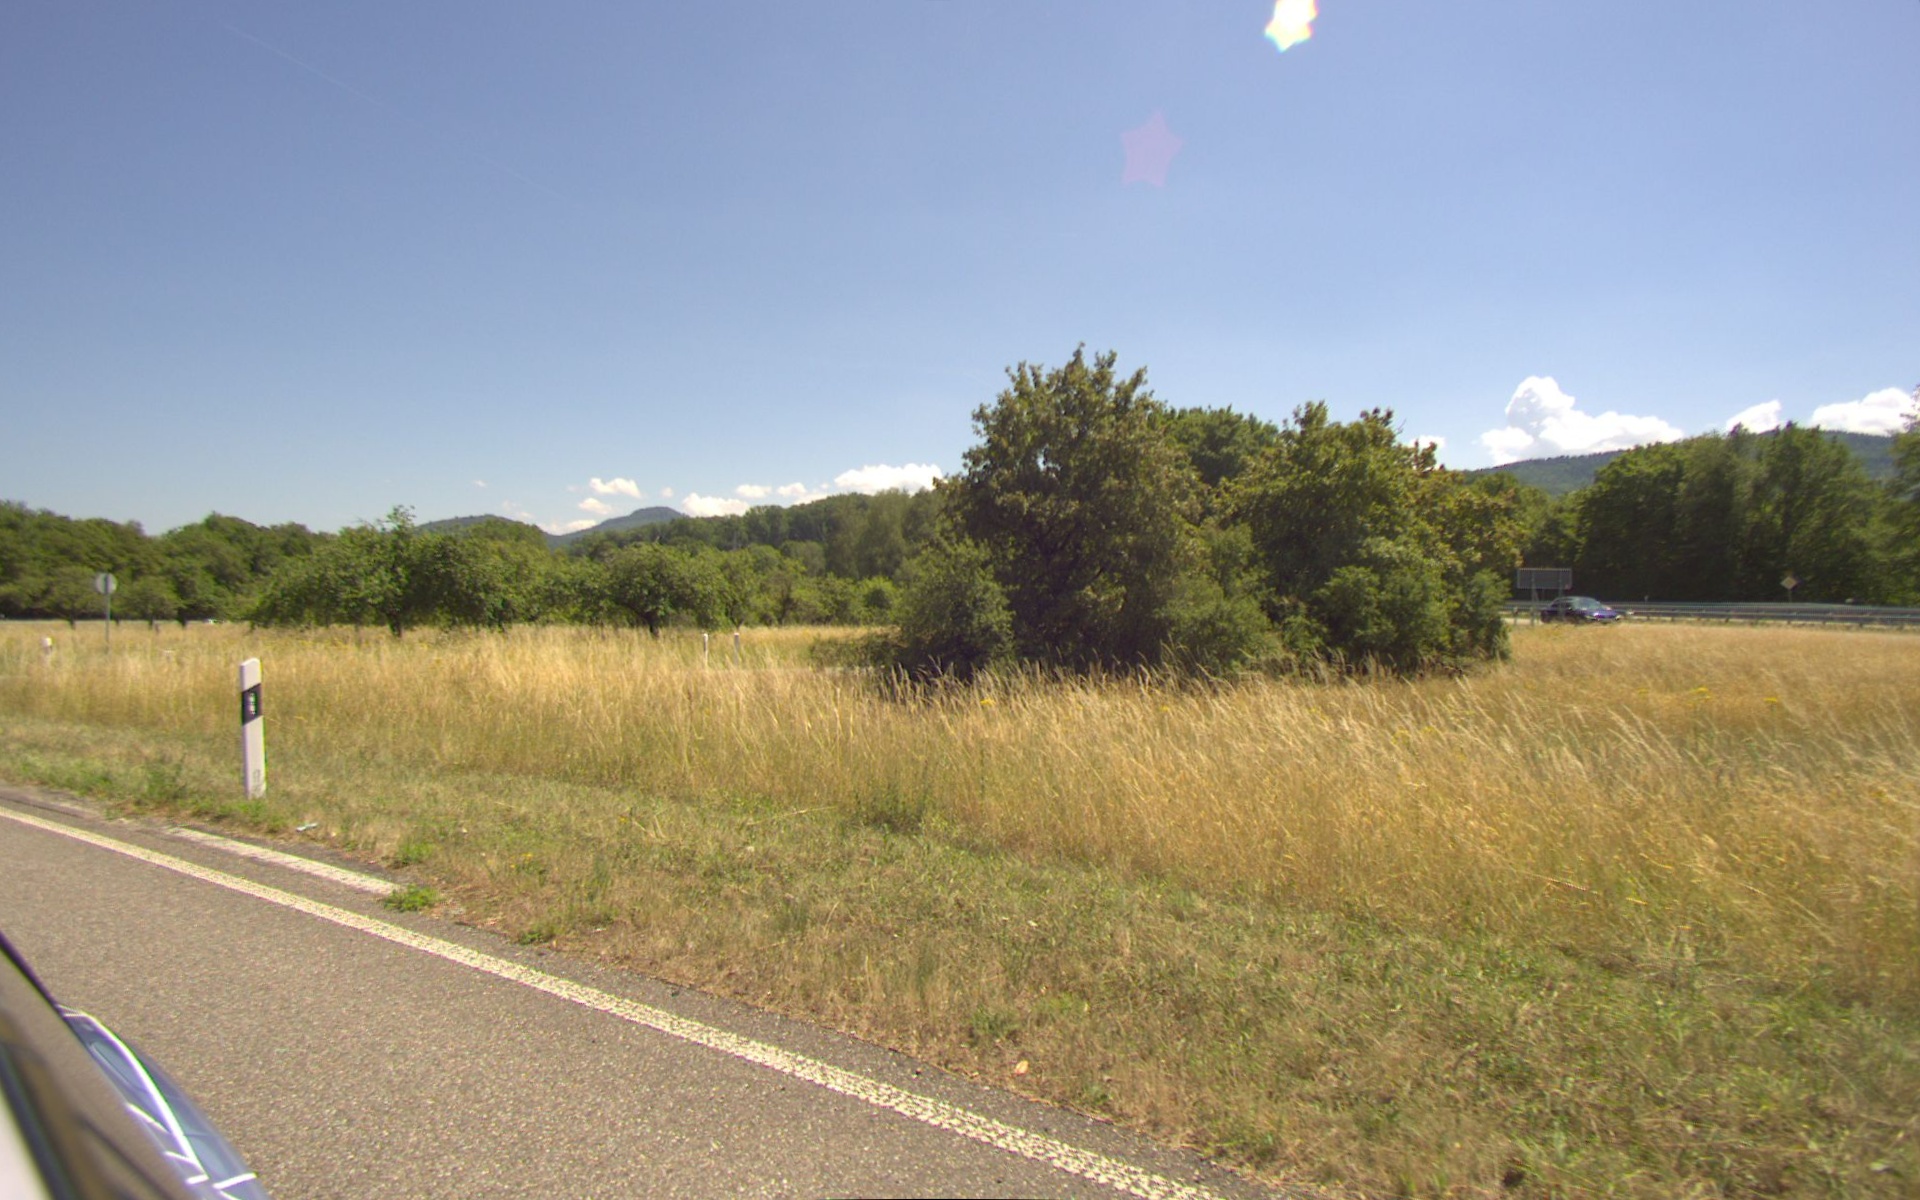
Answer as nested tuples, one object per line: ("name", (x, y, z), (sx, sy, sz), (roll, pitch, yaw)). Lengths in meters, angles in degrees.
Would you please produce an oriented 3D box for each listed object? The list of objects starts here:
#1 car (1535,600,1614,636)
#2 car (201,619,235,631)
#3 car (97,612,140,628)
("car", (32.428, 0.918, 53.529), (1.975, 1.696, 3.994), (1, 1, 5))
("car", (-100.720, 3.352, 137.388), (1.799, 1.469, 4.408), (5, -2, -9))
("car", (-92.866, 2.206, 111.700), (1.798, 1.518, 4.181), (3, -4, -12))
